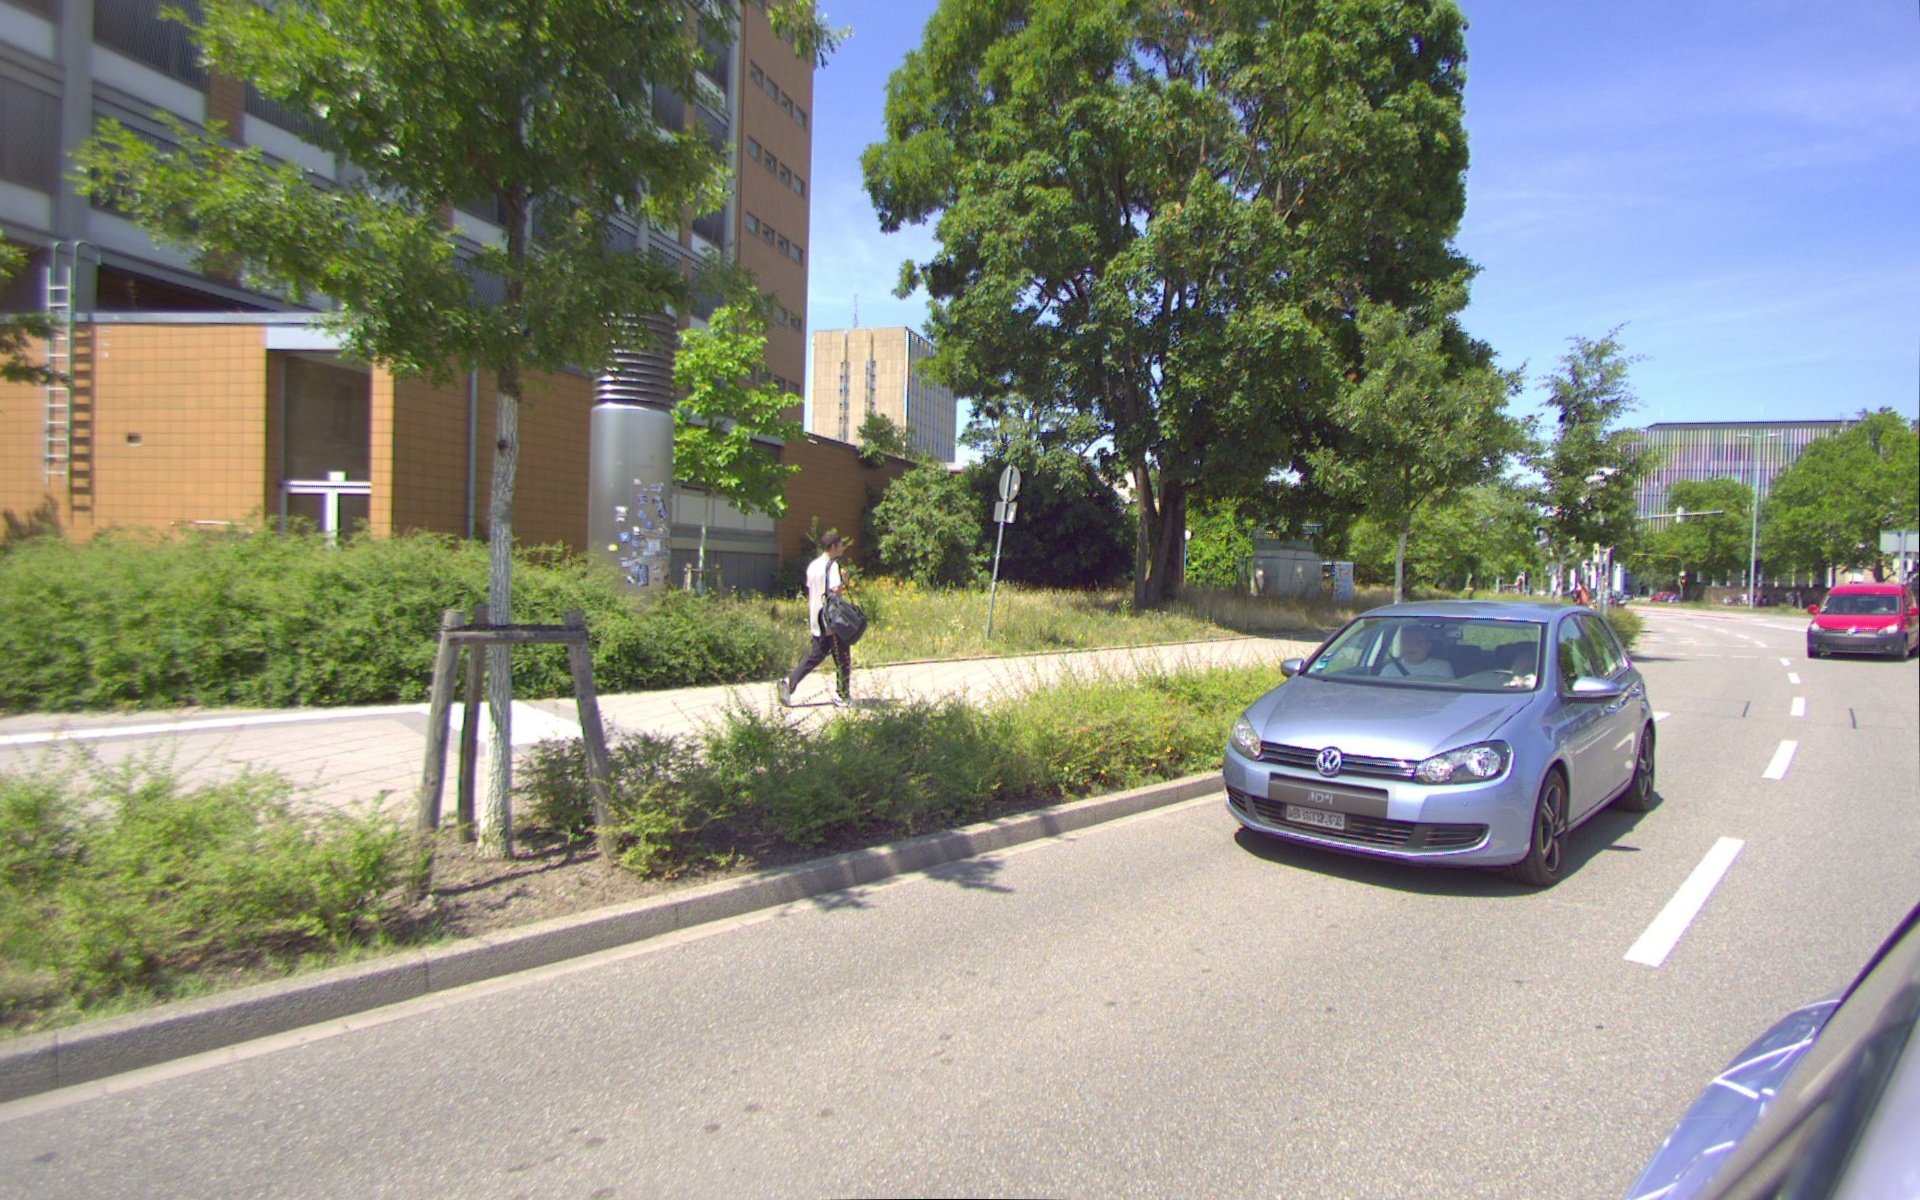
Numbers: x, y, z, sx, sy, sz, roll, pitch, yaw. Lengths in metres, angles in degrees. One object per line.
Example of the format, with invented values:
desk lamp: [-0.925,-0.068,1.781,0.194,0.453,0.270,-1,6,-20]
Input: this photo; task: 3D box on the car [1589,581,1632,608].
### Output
car: [41.782,-0.328,65.069,1.692,1.606,4.515,2,0,25]

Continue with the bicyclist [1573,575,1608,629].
bicyclist: [20.519,0.059,32.929,0.540,1.737,0.705,3,1,-16]

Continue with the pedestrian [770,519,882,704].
pedestrian: [-1.320,0.105,9.970,0.796,1.727,0.733,1,0,-40]

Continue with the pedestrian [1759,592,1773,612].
pedestrian: [84.088,0.234,105.574,0.779,2.039,0.957,2,-1,20]

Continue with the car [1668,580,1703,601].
car: [77.796,-0.978,108.597,1.976,2.039,4.184,2,0,21]

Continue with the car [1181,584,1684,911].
car: [3.297,0.649,6.651,1.828,1.432,3.932,3,2,43]

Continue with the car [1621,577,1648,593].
car: [78.251,-1.716,117.417,1.762,1.705,3.968,2,0,23]

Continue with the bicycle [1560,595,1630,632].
bicycle: [20.548,0.425,32.803,0.547,1.058,2.002,3,2,-16]

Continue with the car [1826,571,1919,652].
car: [22.255,0.309,24.423,1.828,1.788,4.211,2,-1,43]
